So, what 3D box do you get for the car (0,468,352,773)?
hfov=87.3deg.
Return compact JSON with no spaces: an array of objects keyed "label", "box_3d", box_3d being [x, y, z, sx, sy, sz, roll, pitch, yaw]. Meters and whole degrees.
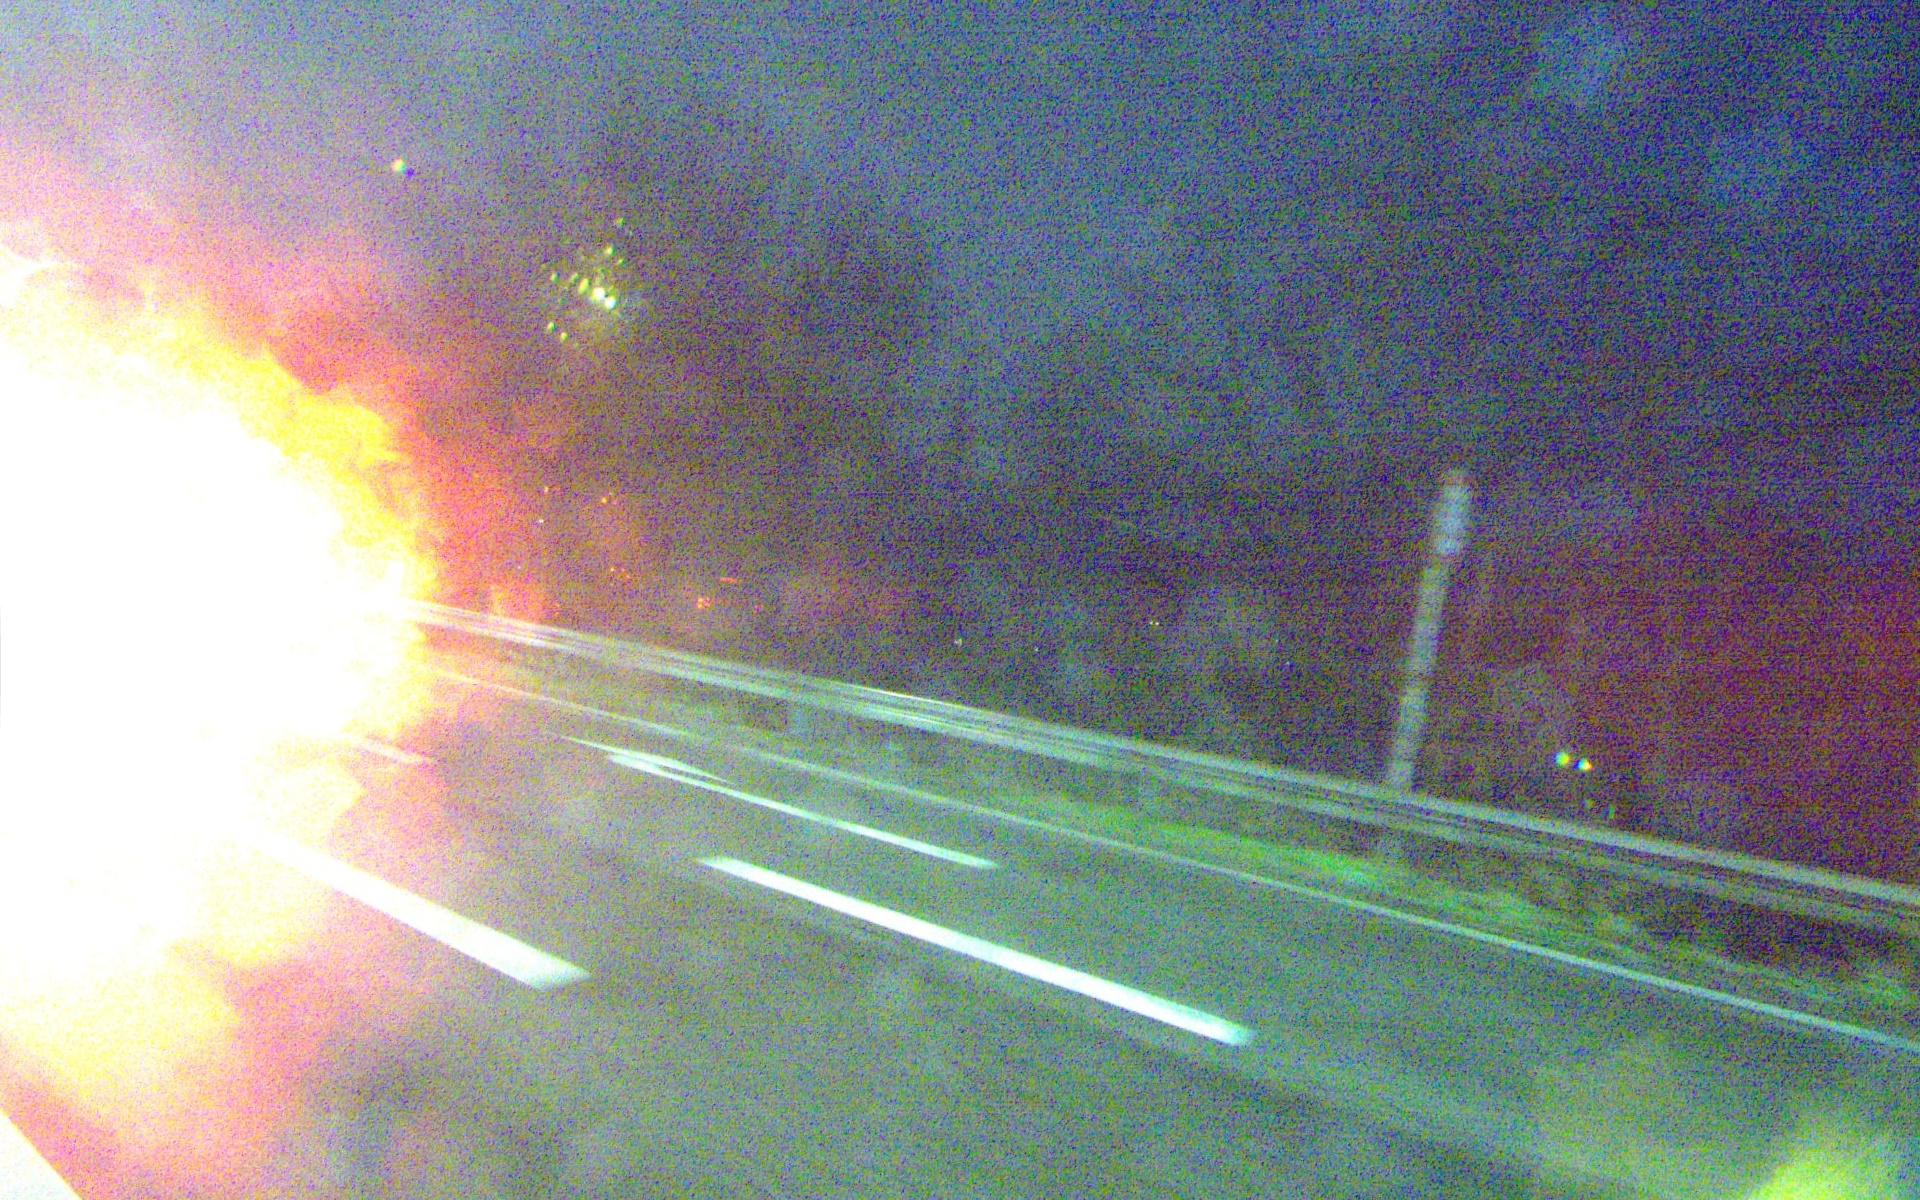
[{"label":"car","box_3d":[-6.183,0.017,6.852,3.712,1.582,1.744,7,-2,29]}]
